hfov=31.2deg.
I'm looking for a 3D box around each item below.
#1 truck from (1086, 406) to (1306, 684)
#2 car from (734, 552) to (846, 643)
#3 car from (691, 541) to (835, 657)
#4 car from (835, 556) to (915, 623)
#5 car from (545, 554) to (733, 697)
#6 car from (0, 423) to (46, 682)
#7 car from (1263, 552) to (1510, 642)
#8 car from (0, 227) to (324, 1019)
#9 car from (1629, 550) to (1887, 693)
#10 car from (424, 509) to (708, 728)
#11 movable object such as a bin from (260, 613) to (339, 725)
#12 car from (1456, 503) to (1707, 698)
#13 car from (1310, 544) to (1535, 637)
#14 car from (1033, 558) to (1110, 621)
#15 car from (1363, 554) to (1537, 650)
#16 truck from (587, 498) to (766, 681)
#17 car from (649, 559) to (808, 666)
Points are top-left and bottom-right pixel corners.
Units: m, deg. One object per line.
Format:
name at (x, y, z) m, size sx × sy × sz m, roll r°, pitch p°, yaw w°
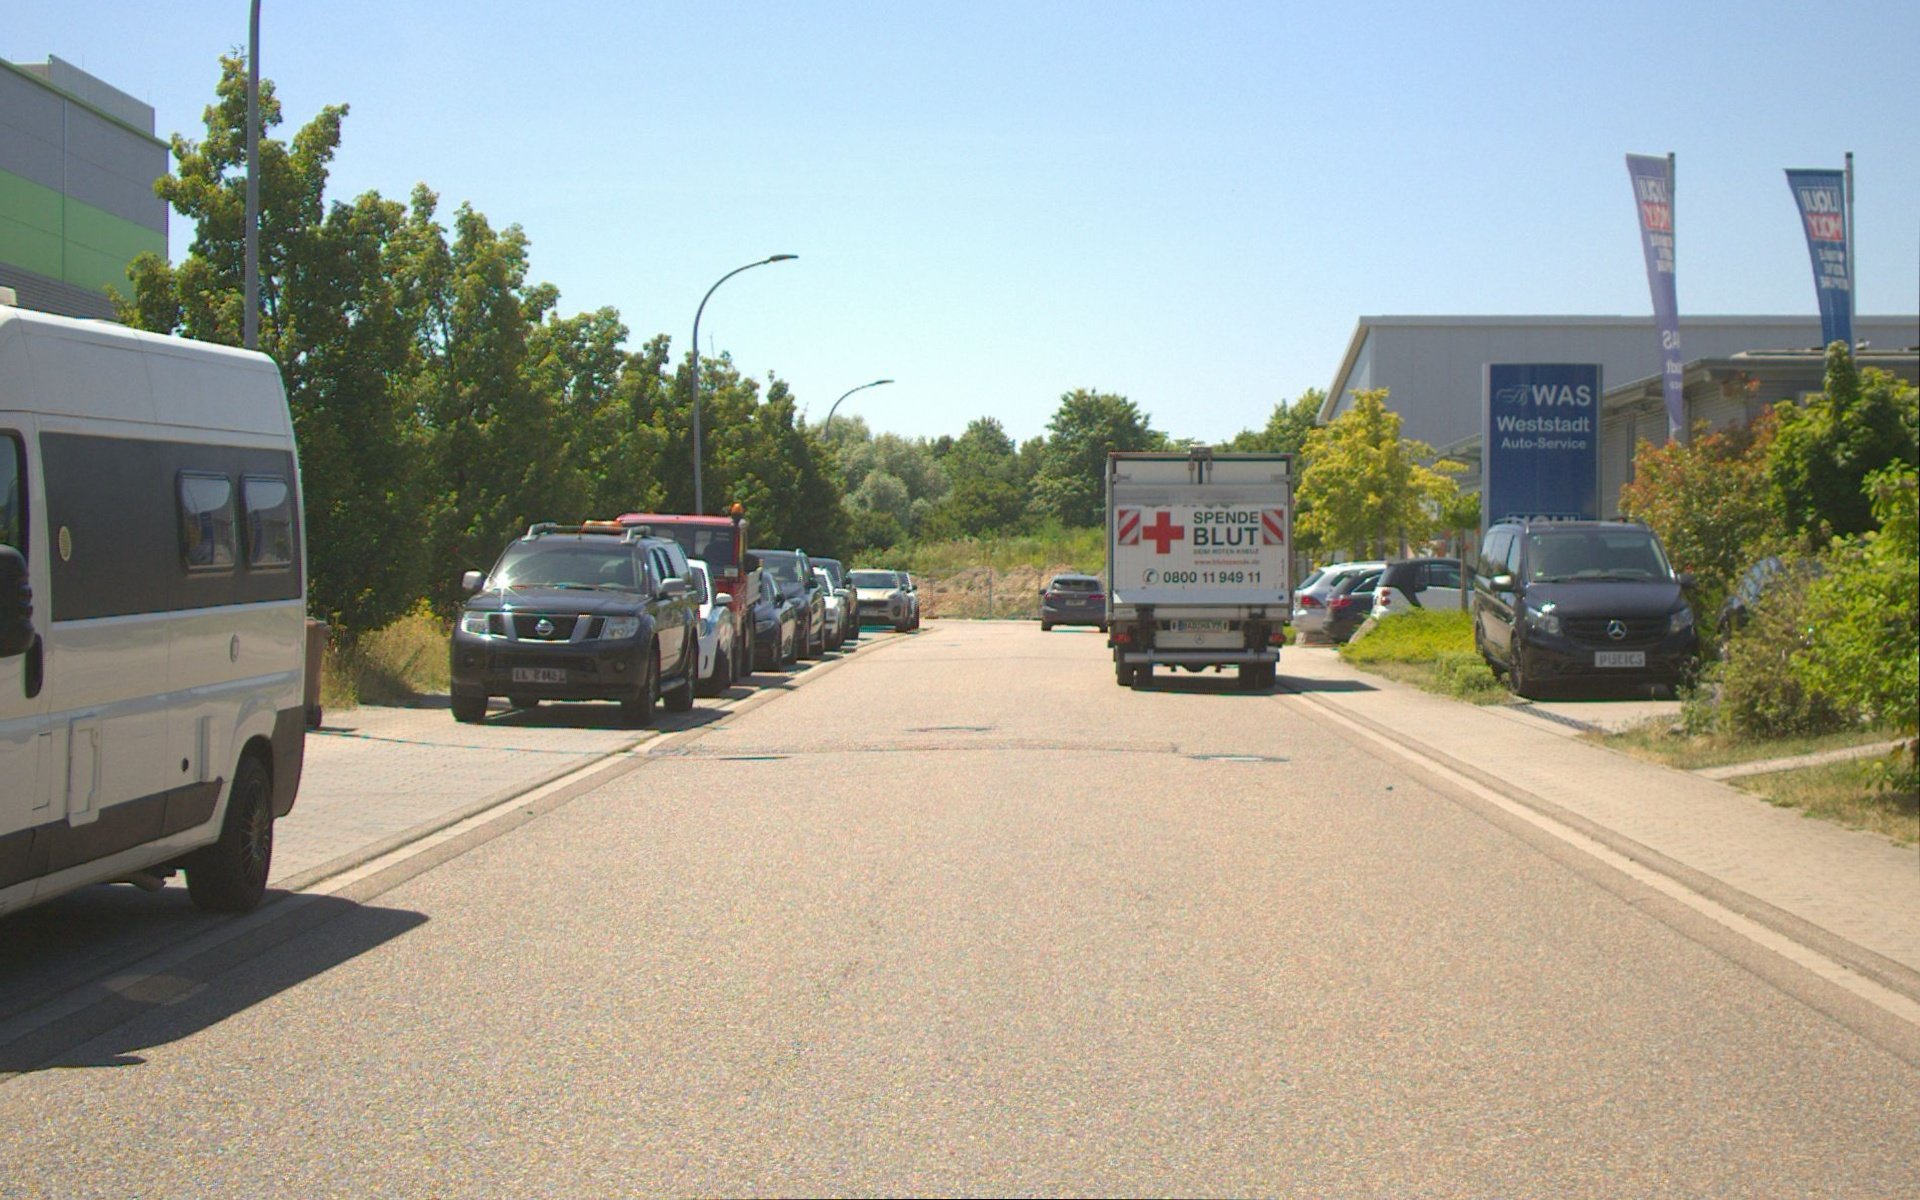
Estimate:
truck at (2.963, -0.703, 44.165) m, size 2.457 × 3.194 × 6.882 m, roll 3°, pitch 1°, yaw 3°
car at (-3.013, -0.071, 61.786) m, size 1.851 × 1.514 × 4.905 m, roll 2°, pitch 1°, yaw -1°
car at (-3.160, -0.046, 56.012) m, size 1.851 × 1.752 × 4.986 m, roll 2°, pitch 1°, yaw 2°
car at (-2.216, -0.286, 90.266) m, size 1.912 × 1.707 × 4.413 m, roll 0°, pitch 0°, yaw 1°
car at (-3.701, 0.262, 40.175) m, size 1.851 × 1.545 × 3.767 m, roll 2°, pitch 1°, yaw -1°
car at (-13.386, -0.560, 37.790) m, size 5.974 × 2.815 × 2.521 m, roll 1°, pitch 0°, yaw 1°
car at (7.648, -0.068, 61.958) m, size 4.280 × 1.536 × 1.913 m, roll -1°, pitch 0°, yaw 3°
car at (-4.234, 0.040, 12.814) m, size 2.323 × 2.590 × 6.085 m, roll 2°, pitch 1°, yaw 2°
car at (8.975, 0.209, 39.042) m, size 1.993 × 1.531 × 4.590 m, roll 0°, pitch 0°, yaw 2°
car at (-3.703, 0.135, 33.312) m, size 1.974 × 1.894 × 5.402 m, roll 2°, pitch 1°, yaw 1°
movable object such as a bin at (-5.711, 0.591, 29.749) m, size 0.547 × 0.947 × 0.683 m, roll 1°, pitch 0°, yaw 0°
car at (6.813, -0.019, 38.220) m, size 1.993 × 2.007 × 5.336 m, roll 0°, pitch 1°, yaw 2°
car at (7.953, -0.166, 59.381) m, size 3.692 × 1.536 × 1.913 m, roll -1°, pitch 0°, yaw 3°
car at (3.045, -0.296, 94.620) m, size 1.912 × 1.707 × 4.031 m, roll 0°, pitch 0°, yaw -1°
car at (8.073, 0.025, 56.780) m, size 2.706 × 1.536 × 1.412 m, roll -1°, pitch 0°, yaw 3°
truck at (-3.635, -0.148, 44.866) m, size 1.851 × 2.215 × 4.646 m, roll 2°, pitch 1°, yaw 1°
car at (-3.304, 0.148, 49.963) m, size 1.851 × 1.438 × 4.753 m, roll 2°, pitch 1°, yaw 1°
